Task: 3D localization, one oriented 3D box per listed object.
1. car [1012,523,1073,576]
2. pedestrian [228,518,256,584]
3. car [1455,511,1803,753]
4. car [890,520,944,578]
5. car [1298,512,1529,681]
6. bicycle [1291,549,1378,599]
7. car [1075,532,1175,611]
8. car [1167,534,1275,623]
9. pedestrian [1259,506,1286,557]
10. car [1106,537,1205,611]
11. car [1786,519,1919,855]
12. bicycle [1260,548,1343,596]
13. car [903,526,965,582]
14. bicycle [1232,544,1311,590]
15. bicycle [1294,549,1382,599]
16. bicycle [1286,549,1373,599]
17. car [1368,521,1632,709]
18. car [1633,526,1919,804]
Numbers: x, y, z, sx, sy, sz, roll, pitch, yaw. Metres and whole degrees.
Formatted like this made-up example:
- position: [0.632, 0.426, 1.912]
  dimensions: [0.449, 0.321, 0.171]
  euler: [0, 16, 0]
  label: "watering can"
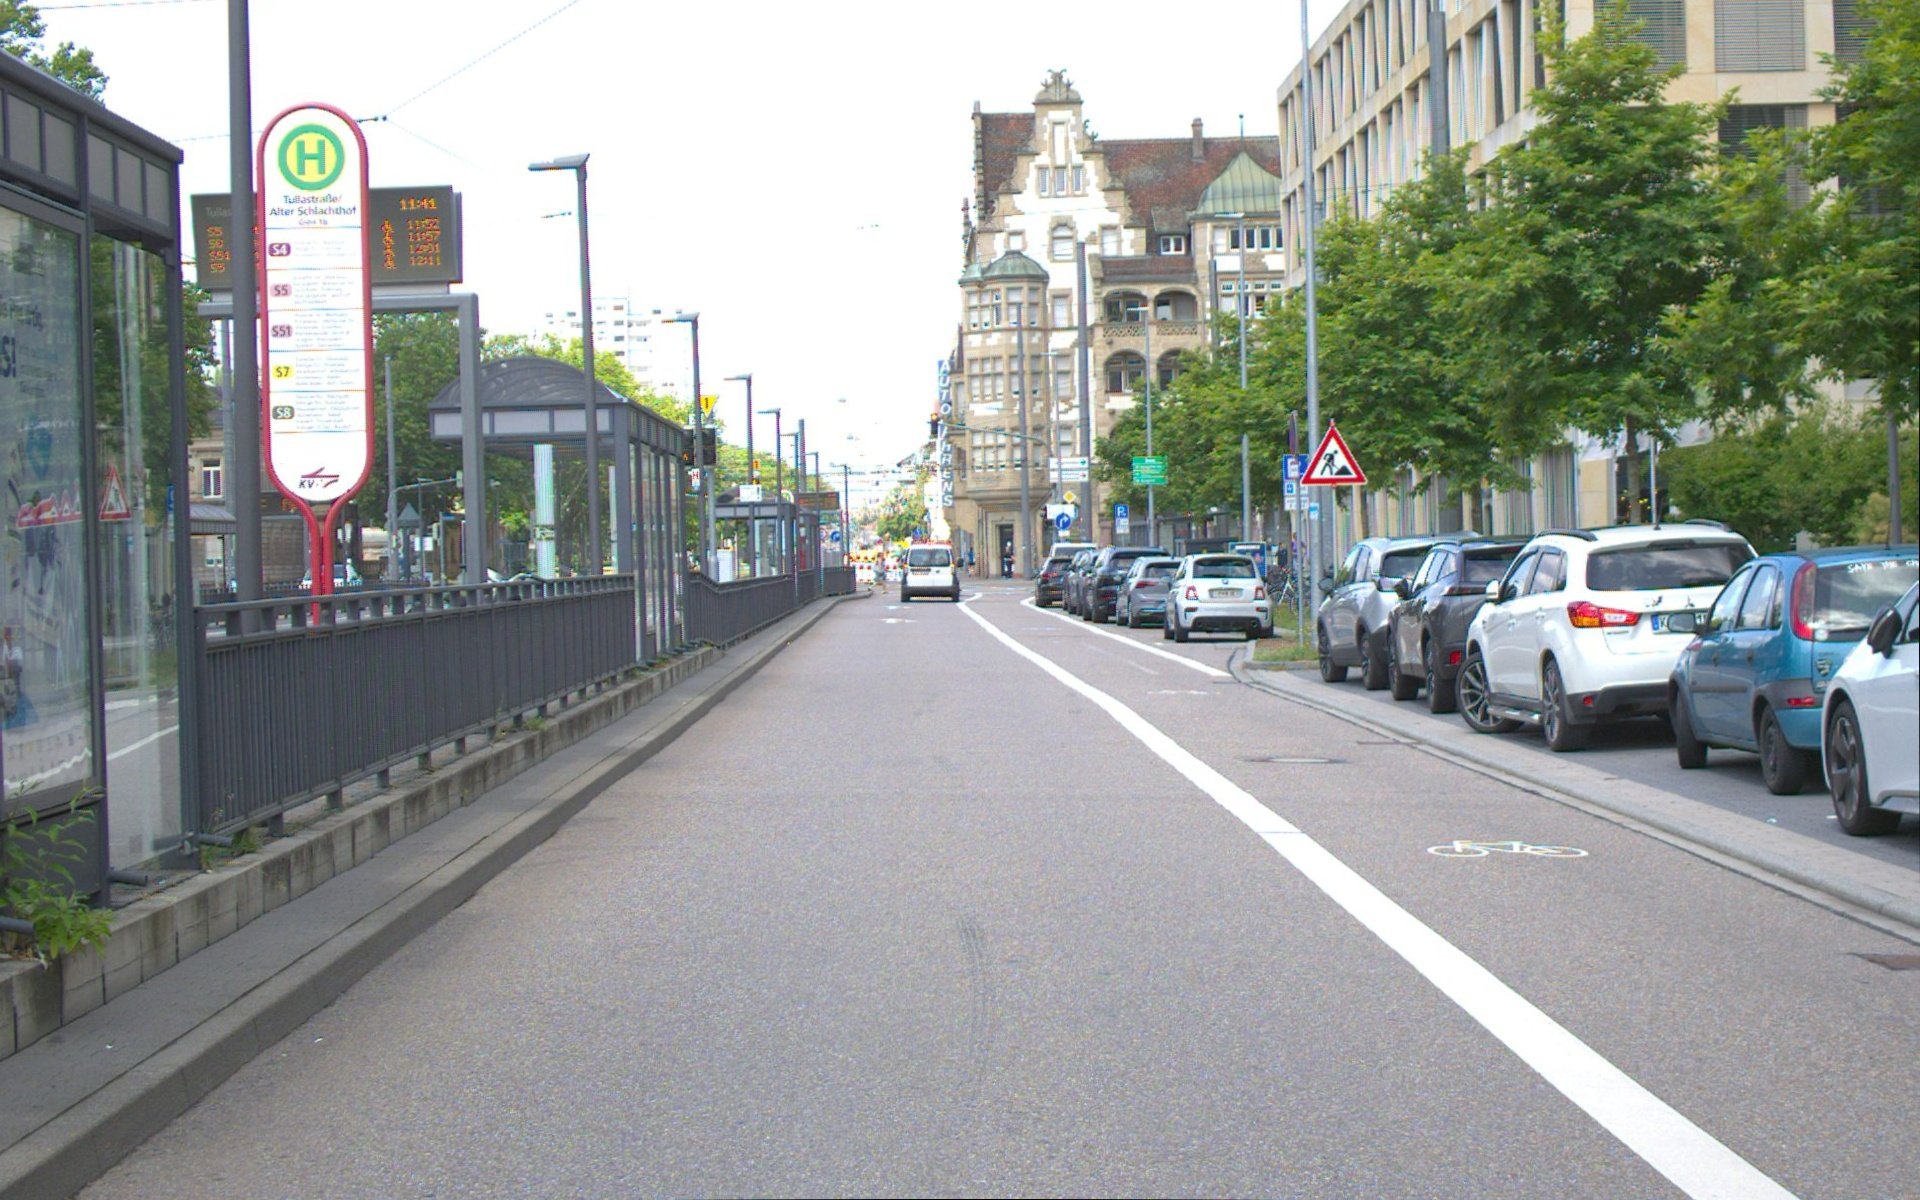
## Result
- position: [2.307, -1.443, 96.818]
  dimensions: [1.443, 1.465, 4.093]
  euler: [0, 1, -3]
  label: "car"
- position: [-18.580, -1.266, 88.943]
  dimensions: [0.500, 1.677, 0.643]
  euler: [-3, 1, -1]
  label: "pedestrian"
- position: [4.949, 0.184, 25.974]
  dimensions: [1.685, 1.600, 4.152]
  euler: [-3, 1, -1]
  label: "car"
- position: [-1.533, -1.820, 121.526]
  dimensions: [1.868, 2.013, 4.000]
  euler: [0, 1, -1]
  label: "car"
- position: [4.858, -0.074, 37.323]
  dimensions: [1.685, 1.628, 3.991]
  euler: [-4, 1, -3]
  label: "car"
- position: [7.846, -0.544, 72.130]
  dimensions: [1.752, 0.983, 0.326]
  euler: [-2, 1, -1]
  label: "bicycle"
- position: [3.571, -0.650, 75.159]
  dimensions: [1.738, 1.664, 4.841]
  euler: [0, 1, -3]
  label: "car"
- position: [4.439, -0.389, 58.889]
  dimensions: [1.591, 1.455, 3.613]
  euler: [0, 1, 0]
  label: "car"
- position: [10.240, -2.245, 112.723]
  dimensions: [0.760, 1.664, 0.659]
  euler: [-2, 1, -1]
  label: "pedestrian"
- position: [3.947, -0.554, 69.971]
  dimensions: [1.591, 1.429, 4.108]
  euler: [0, 1, -3]
  label: "car"
- position: [5.285, 0.368, 15.923]
  dimensions: [1.792, 1.524, 4.159]
  euler: [-3, 1, -1]
  label: "car"
- position: [7.797, -0.637, 78.470]
  dimensions: [1.824, 1.027, 0.584]
  euler: [-2, 1, 3]
  label: "bicycle"
- position: [-0.847, -1.474, 108.914]
  dimensions: [1.868, 1.740, 4.000]
  euler: [0, 1, -1]
  label: "car"
- position: [7.633, -0.802, 84.161]
  dimensions: [1.839, 1.027, 0.340]
  euler: [-3, 1, -2]
  label: "bicycle"
- position: [7.888, -0.539, 71.788]
  dimensions: [1.752, 0.983, 0.326]
  euler: [-2, 1, -1]
  label: "bicycle"
- position: [7.789, -0.547, 72.489]
  dimensions: [1.752, 0.983, 0.326]
  euler: [-2, 1, -1]
  label: "bicycle"
- position: [4.902, 0.091, 31.672]
  dimensions: [1.685, 1.543, 3.927]
  euler: [-3, 1, -1]
  label: "car"
- position: [5.389, 0.316, 20.939]
  dimensions: [1.685, 1.452, 3.951]
  euler: [-3, 1, -1]
  label: "car"
